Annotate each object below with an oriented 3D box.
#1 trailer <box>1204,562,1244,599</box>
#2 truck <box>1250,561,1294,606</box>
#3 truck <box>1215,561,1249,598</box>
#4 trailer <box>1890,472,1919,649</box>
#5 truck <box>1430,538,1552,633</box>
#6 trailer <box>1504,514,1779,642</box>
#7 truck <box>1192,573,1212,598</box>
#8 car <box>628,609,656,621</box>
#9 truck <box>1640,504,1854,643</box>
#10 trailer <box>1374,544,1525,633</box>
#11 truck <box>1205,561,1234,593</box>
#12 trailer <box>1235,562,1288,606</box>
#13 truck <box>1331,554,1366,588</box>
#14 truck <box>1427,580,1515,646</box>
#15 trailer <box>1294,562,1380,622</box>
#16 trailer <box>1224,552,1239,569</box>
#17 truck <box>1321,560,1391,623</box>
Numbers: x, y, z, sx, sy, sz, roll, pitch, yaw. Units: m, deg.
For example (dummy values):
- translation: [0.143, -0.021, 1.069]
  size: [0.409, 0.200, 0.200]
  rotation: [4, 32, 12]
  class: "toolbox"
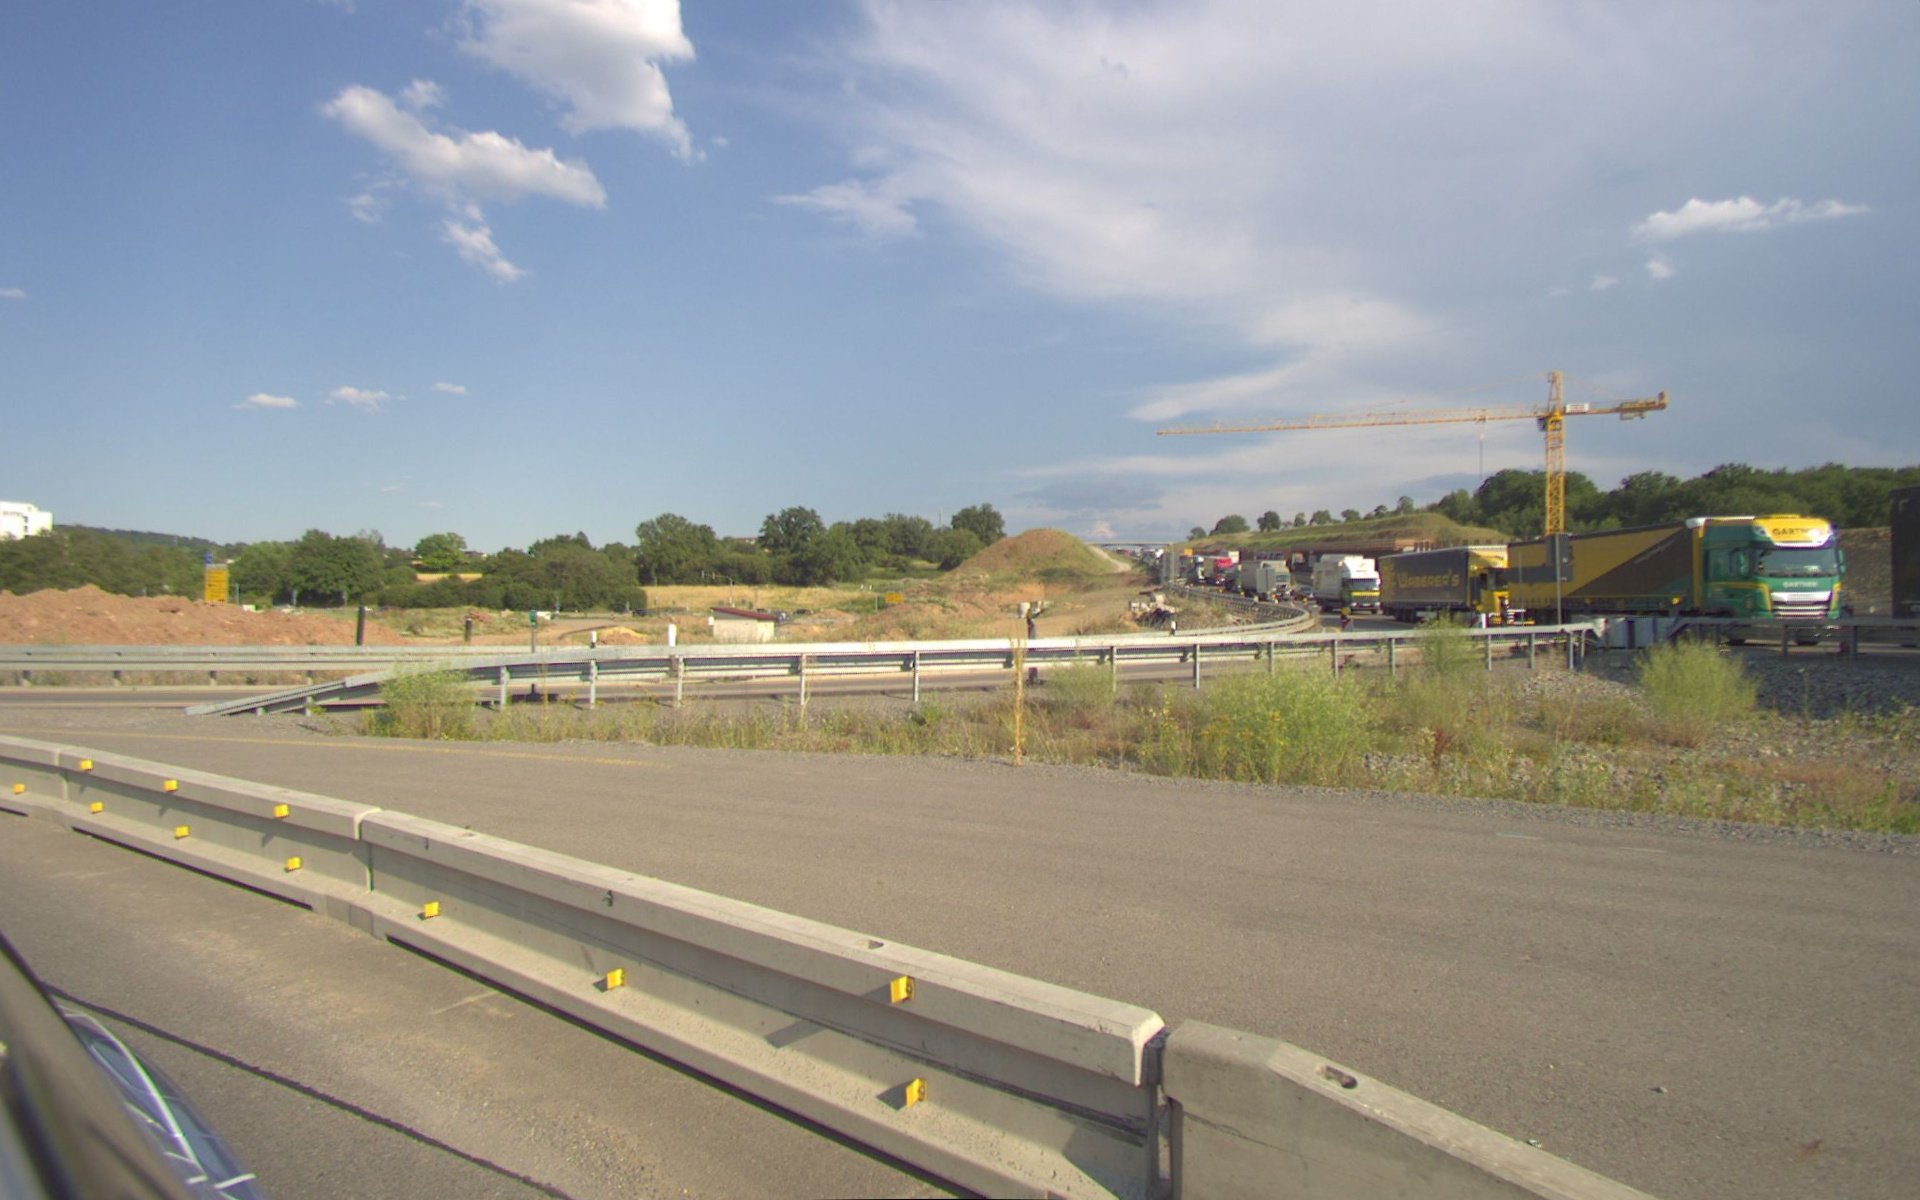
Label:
- translation: [34.375, -2.382, 132.256]
  size: [3.076, 4.347, 14.222]
  rotation: [1, -1, 7]
  class: "trailer"
- translation: [31.889, -1.639, 103.815]
  size: [3.076, 4.347, 6.881]
  rotation: [1, -1, 7]
  class: "truck"
- translation: [33.500, -2.438, 124.752]
  size: [3.076, 4.347, 6.881]
  rotation: [1, -1, 7]
  class: "truck"
- translation: [22.705, -1.002, 17.242]
  size: [2.458, 4.092, 13.602]
  rotation: [-1, -1, 7]
  class: "trailer"
- translation: [26.290, -0.632, 50.531]
  size: [3.076, 4.347, 6.881]
  rotation: [1, -1, 7]
  class: "truck"
- translation: [25.200, -0.599, 38.853]
  size: [2.458, 3.988, 13.948]
  rotation: [-1, -1, 6]
  class: "trailer"
- translation: [40.875, -2.443, 171.180]
  size: [2.494, 4.031, 8.531]
  rotation: [1, -1, 8]
  class: "truck"
- translation: [-44.539, 2.078, 141.911]
  size: [1.699, 1.530, 4.496]
  rotation: [2, -1, 13]
  class: "car"
- translation: [24.482, -0.706, 31.918]
  size: [2.458, 3.931, 5.999]
  rotation: [-1, -1, 6]
  class: "truck"
- translation: [27.064, -0.483, 57.024]
  size: [3.076, 4.347, 14.222]
  rotation: [1, -1, 7]
  class: "trailer"
- translation: [36.883, -3.198, 144.008]
  size: [3.076, 4.347, 6.881]
  rotation: [1, -1, 7]
  class: "truck"
- translation: [32.677, -1.574, 110.474]
  size: [3.076, 4.347, 14.222]
  rotation: [1, -1, 7]
  class: "trailer"
- translation: [57.450, -4.131, 149.811]
  size: [3.541, 4.445, 13.107]
  rotation: [1, -1, 15]
  class: "truck"
- translation: [33.006, 0.860, 65.638]
  size: [2.823, 4.027, 6.612]
  rotation: [0, -1, 6]
  class: "truck"
- translation: [29.749, -0.473, 80.633]
  size: [3.076, 4.347, 14.222]
  rotation: [1, -1, 7]
  class: "trailer"
- translation: [67.588, -9.764, 252.146]
  size: [1.948, 3.540, 11.150]
  rotation: [1, -1, 7]
  class: "trailer"
- translation: [29.000, -0.566, 74.416]
  size: [3.076, 4.347, 6.881]
  rotation: [1, -1, 7]
  class: "truck"
